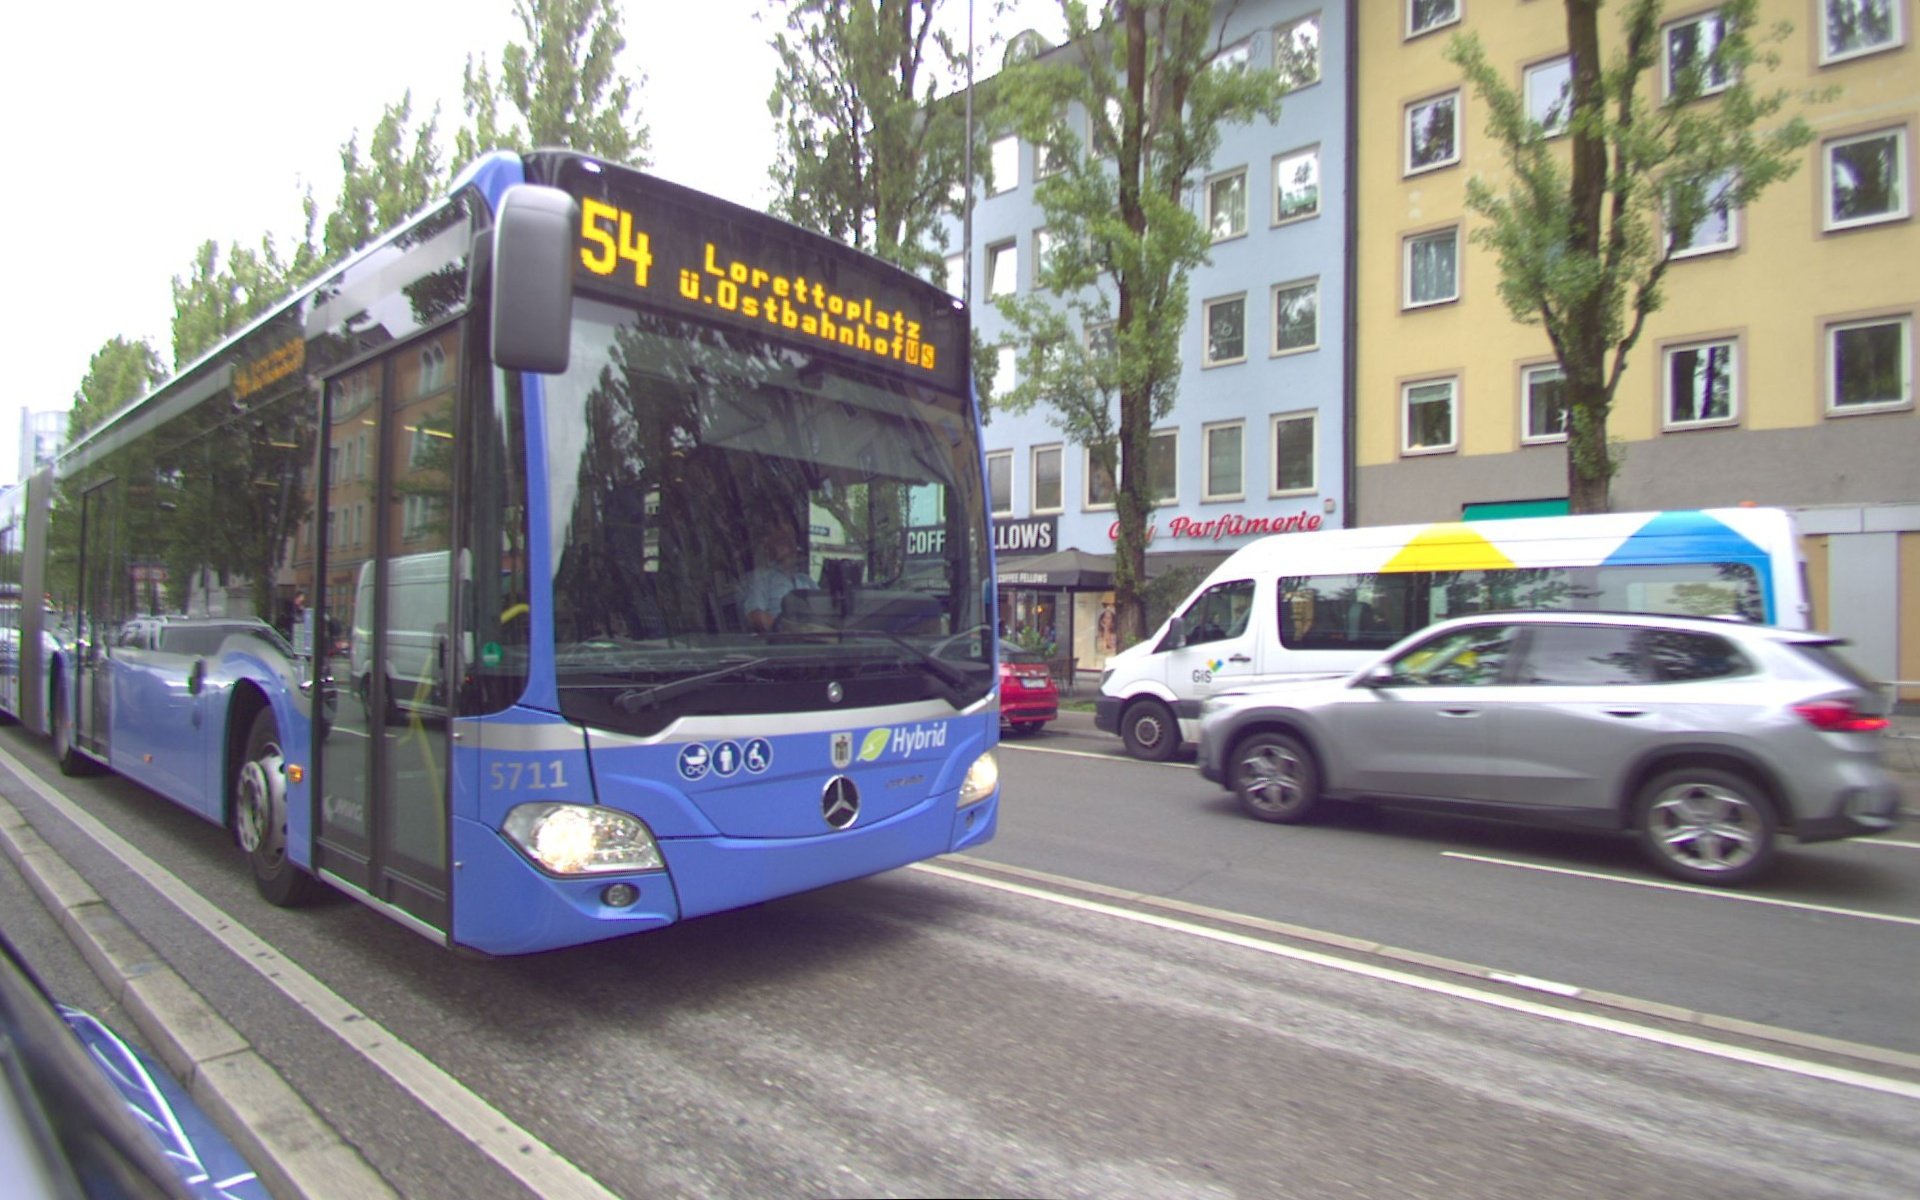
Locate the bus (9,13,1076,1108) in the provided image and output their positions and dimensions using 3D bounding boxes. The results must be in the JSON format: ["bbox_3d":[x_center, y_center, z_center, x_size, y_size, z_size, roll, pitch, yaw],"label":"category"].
[{"bbox_3d":[-4.096,-0.034,7.061,10.047,2.972,2.661,-1,-2,41],"label":"bus"}]

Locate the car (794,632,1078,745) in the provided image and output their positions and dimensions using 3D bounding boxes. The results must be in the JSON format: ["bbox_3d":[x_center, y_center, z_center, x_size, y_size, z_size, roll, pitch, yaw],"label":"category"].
[{"bbox_3d":[-0.454,1.223,15.078,4.146,1.430,1.719,-1,-4,41],"label":"car"}]

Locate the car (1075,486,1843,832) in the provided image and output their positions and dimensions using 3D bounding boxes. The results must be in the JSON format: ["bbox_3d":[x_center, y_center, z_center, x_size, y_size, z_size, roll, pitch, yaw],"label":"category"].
[{"bbox_3d":[4.631,0.531,10.611,6.909,2.587,1.984,-1,-4,41],"label":"car"}]

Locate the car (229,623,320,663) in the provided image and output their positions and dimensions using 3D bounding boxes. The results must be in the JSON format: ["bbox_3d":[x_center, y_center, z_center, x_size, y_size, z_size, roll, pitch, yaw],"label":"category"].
[{"bbox_3d":[-25.963,1.624,38.288,3.780,1.433,1.739,-1,-3,38],"label":"car"}]

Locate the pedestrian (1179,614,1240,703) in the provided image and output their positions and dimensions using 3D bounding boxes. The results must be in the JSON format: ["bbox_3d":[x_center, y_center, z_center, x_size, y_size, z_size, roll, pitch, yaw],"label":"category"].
[{"bbox_3d":[4.831,1.111,19.572,0.949,1.659,0.691,-1,-3,39],"label":"pedestrian"}]

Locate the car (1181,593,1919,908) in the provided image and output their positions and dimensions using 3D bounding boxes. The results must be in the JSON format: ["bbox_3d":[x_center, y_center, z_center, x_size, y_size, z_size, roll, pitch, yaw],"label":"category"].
[{"bbox_3d":[4.022,0.848,7.343,4.452,1.647,1.752,-1,-3,40],"label":"car"}]

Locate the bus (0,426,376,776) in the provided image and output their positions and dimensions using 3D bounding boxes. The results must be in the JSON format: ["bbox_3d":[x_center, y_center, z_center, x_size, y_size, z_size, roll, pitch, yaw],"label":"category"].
[{"bbox_3d":[-10.807,0.096,12.914,10.047,2.972,2.655,-1,-2,41],"label":"bus"}]
